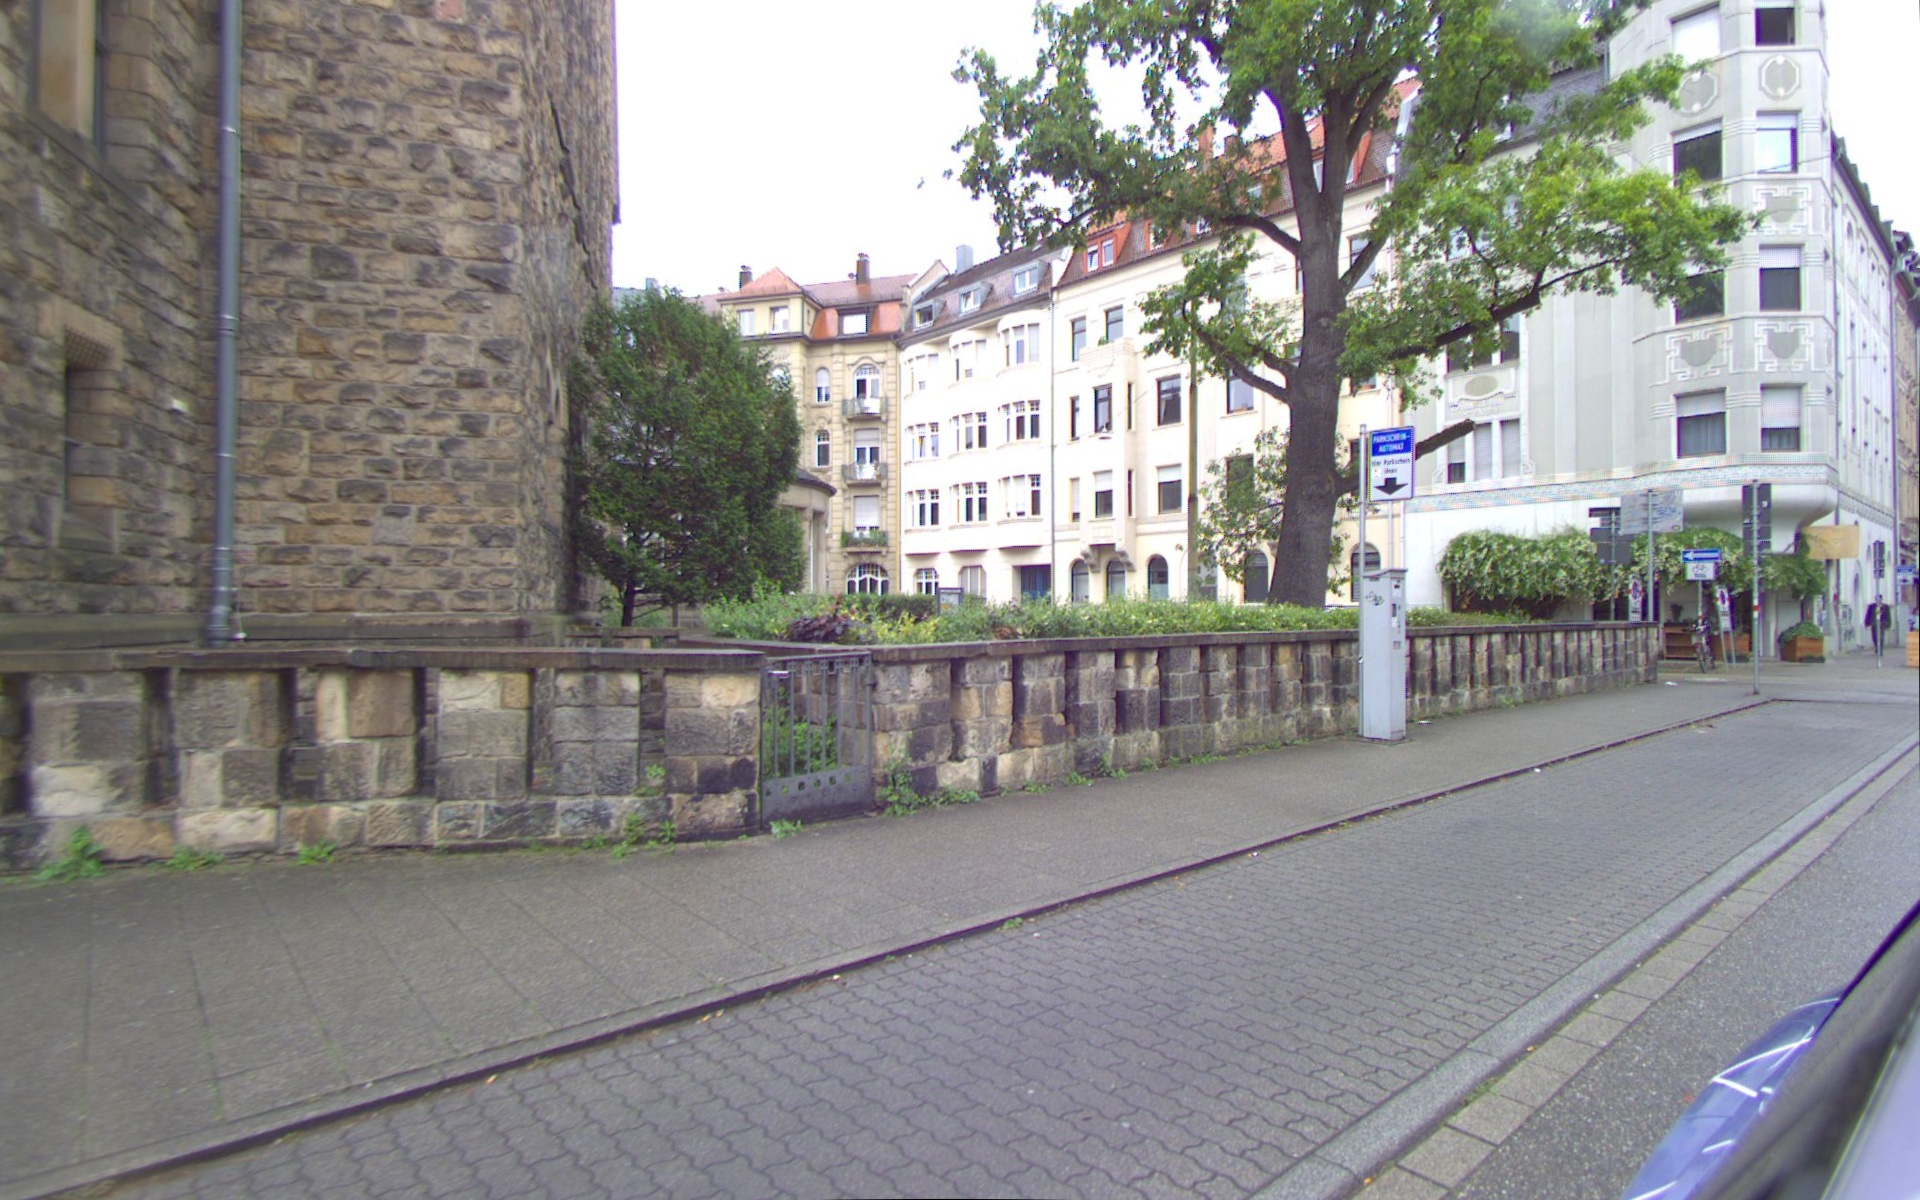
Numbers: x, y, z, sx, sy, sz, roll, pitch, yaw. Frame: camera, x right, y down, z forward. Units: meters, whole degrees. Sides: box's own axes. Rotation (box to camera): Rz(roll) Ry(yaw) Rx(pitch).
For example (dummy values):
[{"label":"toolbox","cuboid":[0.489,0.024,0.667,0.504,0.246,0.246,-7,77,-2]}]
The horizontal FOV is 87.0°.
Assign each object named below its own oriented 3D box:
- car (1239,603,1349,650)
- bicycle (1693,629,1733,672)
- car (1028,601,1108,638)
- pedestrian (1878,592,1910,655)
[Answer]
[{"label":"car","cuboid":[11.062,0.841,33.652,1.421,1.427,3.271,1,0,-37]},{"label":"bicycle","cuboid":[18.654,1.235,25.057,1.989,0.904,0.390,-2,2,-41]},{"label":"car","cuboid":[4.420,0.774,41.836,1.421,1.427,3.271,1,0,-37]},{"label":"pedestrian","cuboid":[28.682,0.722,31.077,0.681,1.896,0.645,1,0,-41]}]
